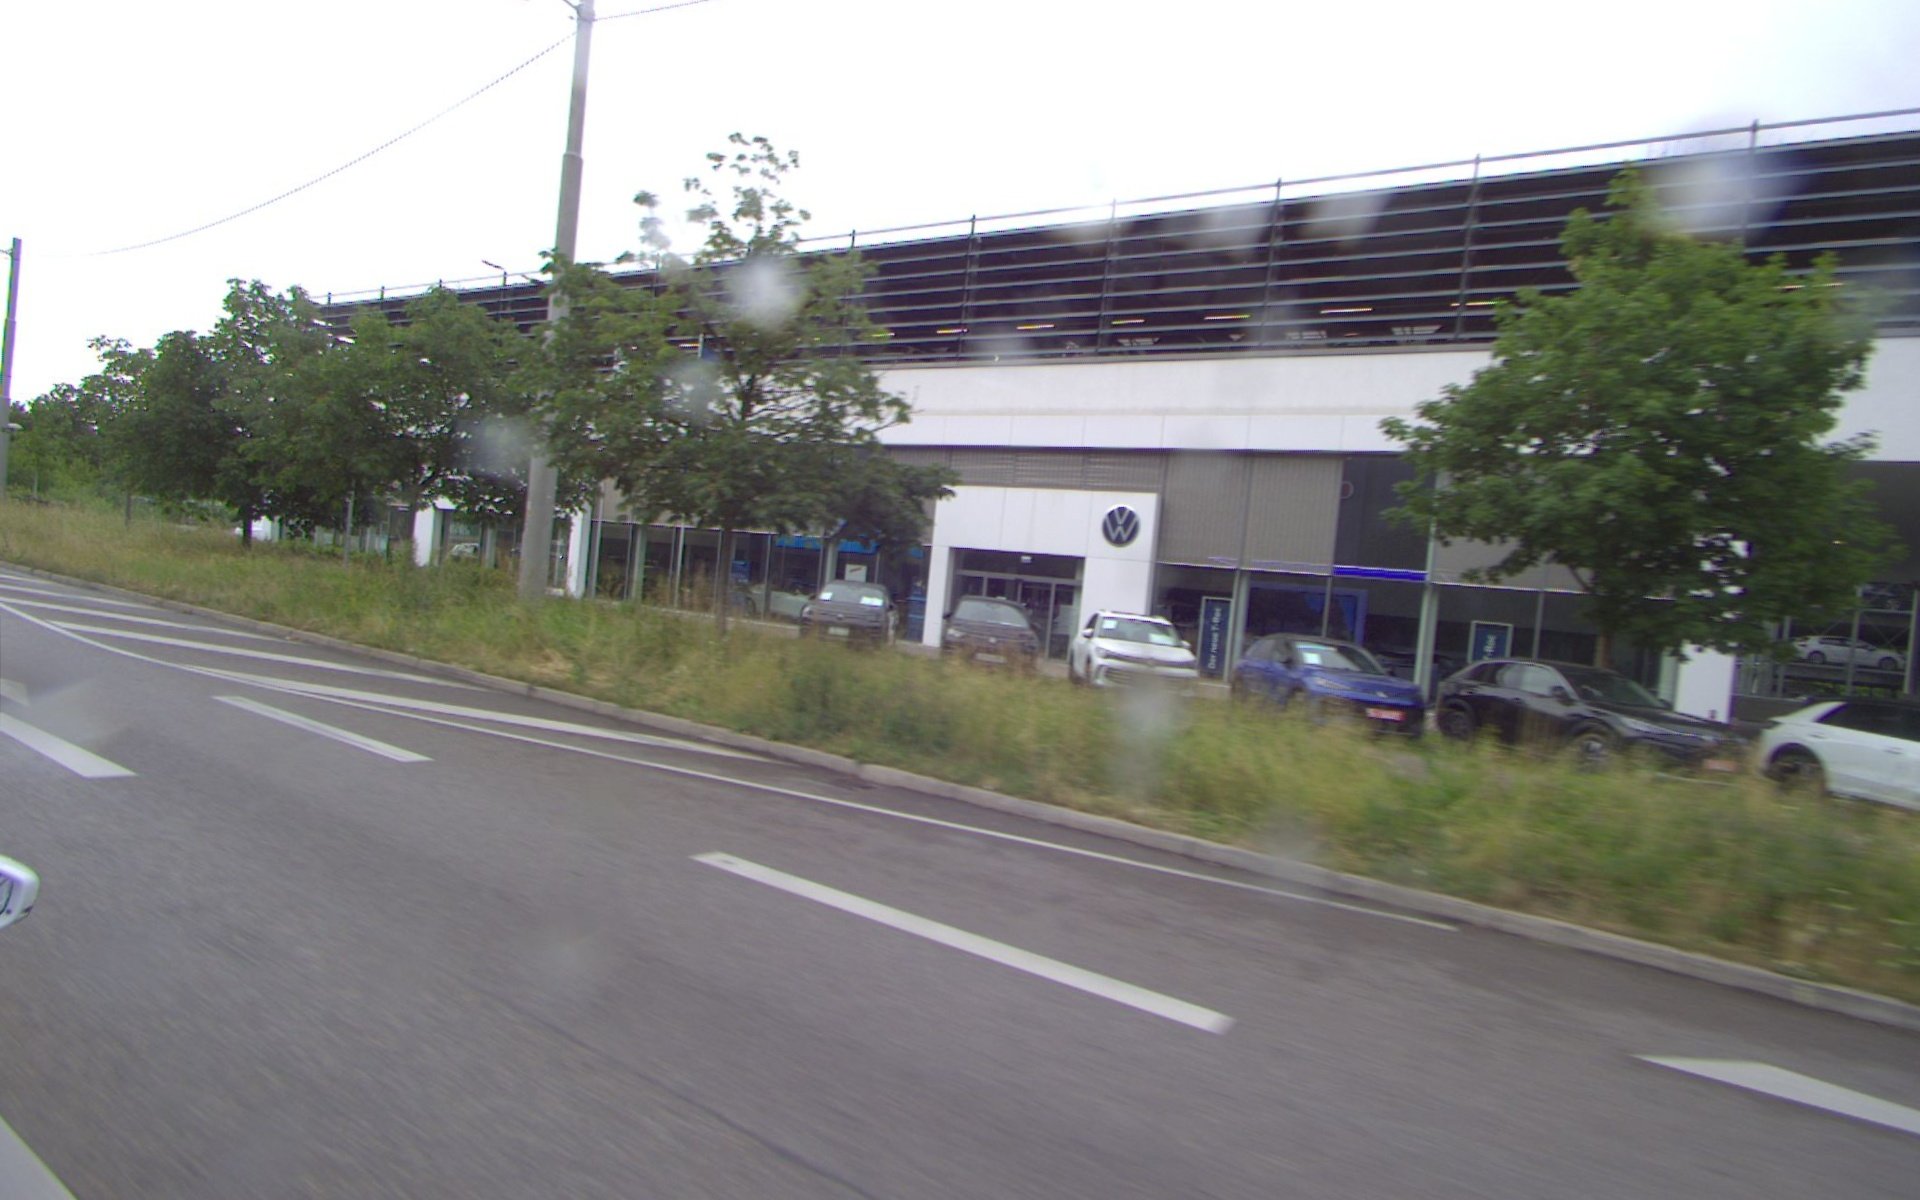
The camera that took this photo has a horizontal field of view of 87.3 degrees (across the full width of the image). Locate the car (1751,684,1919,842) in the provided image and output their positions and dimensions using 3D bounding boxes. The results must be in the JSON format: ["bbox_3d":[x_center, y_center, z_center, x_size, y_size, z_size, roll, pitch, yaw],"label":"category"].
[{"bbox_3d":[12.019,2.079,11.874,1.767,1.589,4.093,5,1,-6],"label":"car"}]

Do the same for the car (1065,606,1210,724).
[{"bbox_3d":[3.065,1.055,18.285,1.821,1.648,4.352,5,1,1],"label":"car"}]

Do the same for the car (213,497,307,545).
[{"bbox_3d":[-38.121,-4.320,54.773,5.003,2.038,2.047,7,0,29],"label":"car"}]

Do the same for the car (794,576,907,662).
[{"bbox_3d":[-2.332,0.340,22.553,1.817,1.589,4.622,5,1,1],"label":"car"}]

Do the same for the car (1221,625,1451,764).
[{"bbox_3d":[5.773,1.377,16.089,1.766,1.589,4.184,5,1,-4],"label":"car"}]

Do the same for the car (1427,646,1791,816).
[{"bbox_3d":[8.627,1.657,13.917,1.768,1.589,4.180,5,1,-10],"label":"car"}]

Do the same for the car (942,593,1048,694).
[{"bbox_3d":[0.615,0.758,20.081,1.765,1.589,4.372,5,1,0],"label":"car"}]
